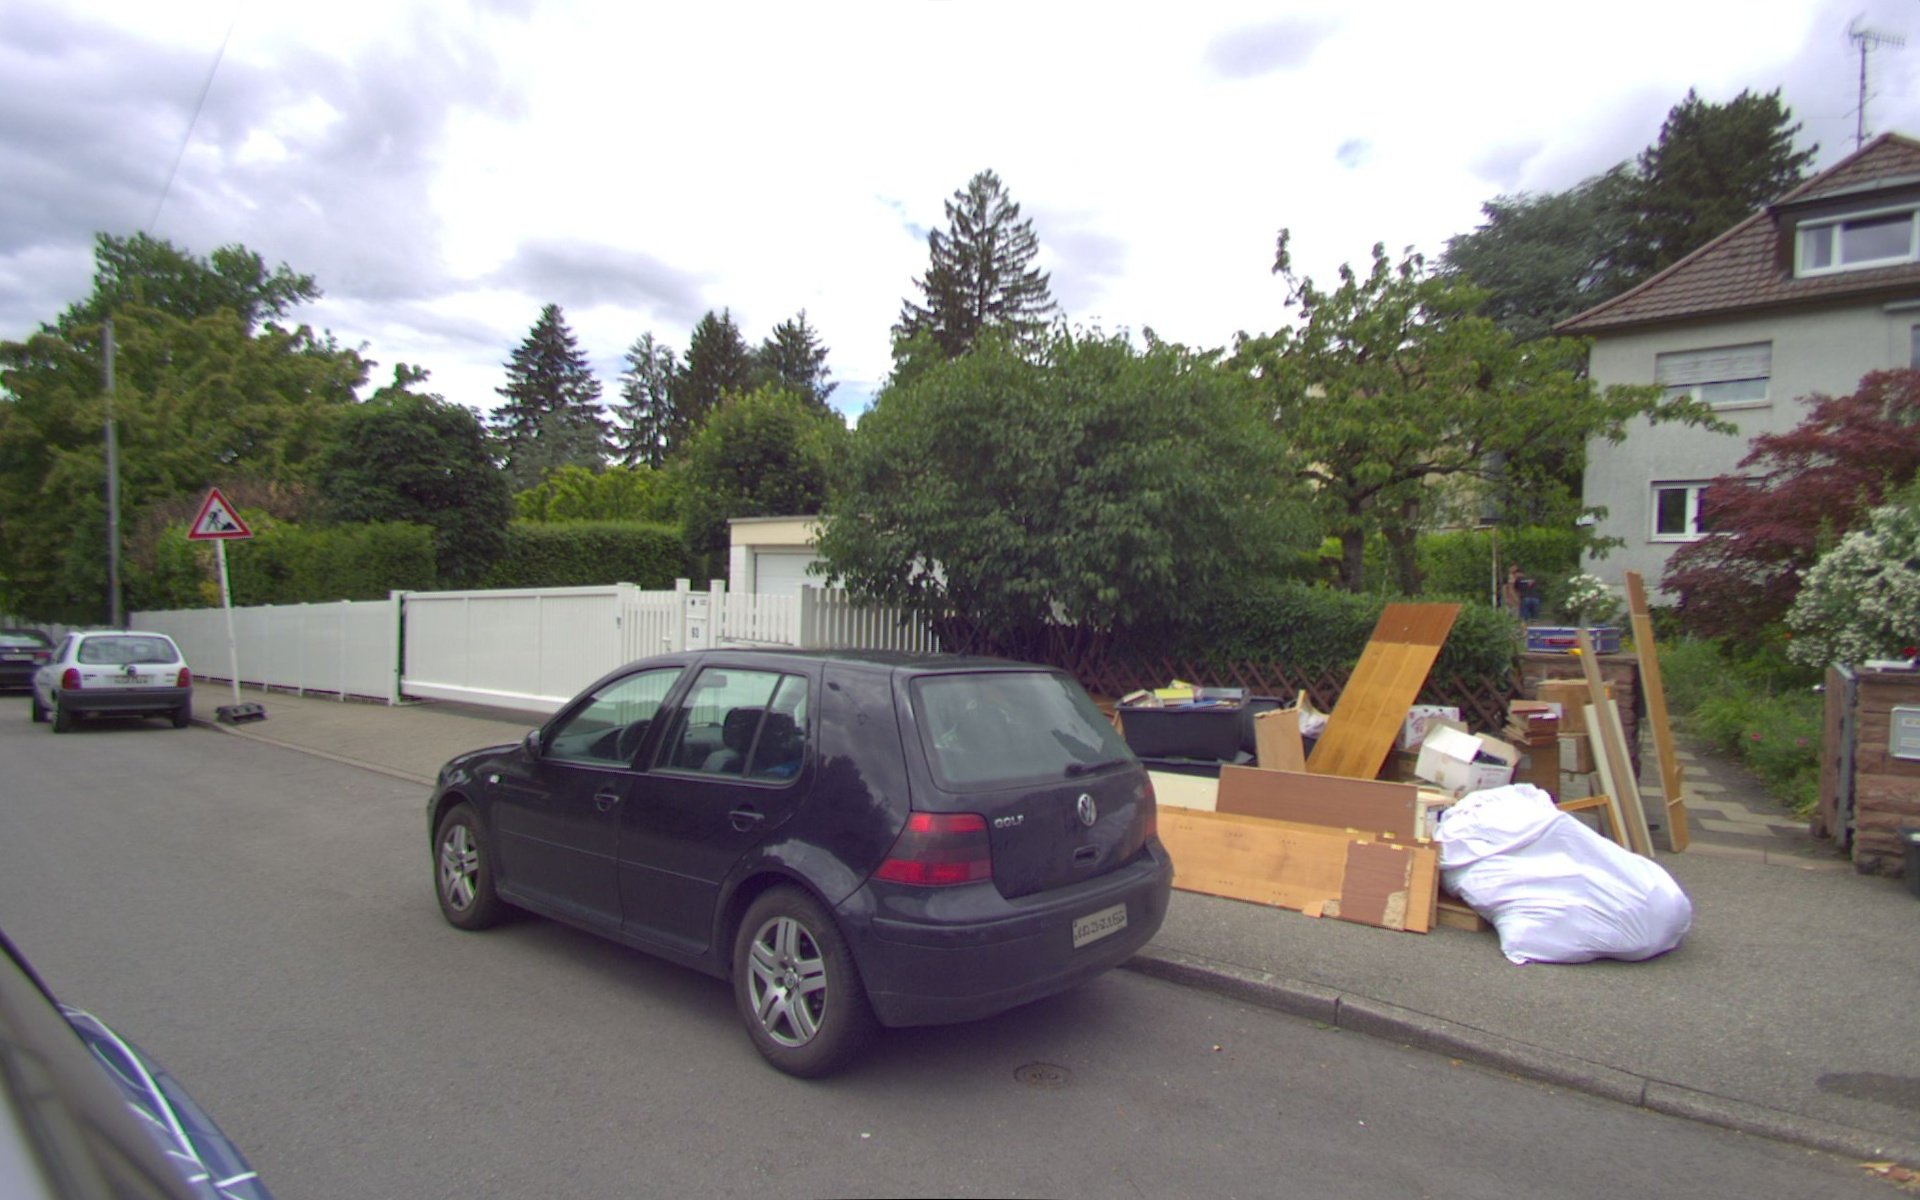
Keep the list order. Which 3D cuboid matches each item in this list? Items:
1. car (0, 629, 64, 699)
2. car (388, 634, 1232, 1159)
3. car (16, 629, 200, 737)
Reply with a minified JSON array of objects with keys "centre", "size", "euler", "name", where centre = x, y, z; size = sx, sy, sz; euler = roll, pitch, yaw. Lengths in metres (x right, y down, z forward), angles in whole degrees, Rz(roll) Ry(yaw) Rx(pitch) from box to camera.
[{"centre":[-21.284,1.360,22.453],"size":[4.549,1.433,1.622],"euler":[-1,-4,43],"name":"car"},{"centre":[-0.953,0.885,4.686],"size":[3.985,1.406,1.620],"euler":[-1,-3,40],"name":"car"},{"centre":[-13.185,1.188,15.582],"size":[3.999,1.444,1.579],"euler":[-1,-3,42],"name":"car"}]
